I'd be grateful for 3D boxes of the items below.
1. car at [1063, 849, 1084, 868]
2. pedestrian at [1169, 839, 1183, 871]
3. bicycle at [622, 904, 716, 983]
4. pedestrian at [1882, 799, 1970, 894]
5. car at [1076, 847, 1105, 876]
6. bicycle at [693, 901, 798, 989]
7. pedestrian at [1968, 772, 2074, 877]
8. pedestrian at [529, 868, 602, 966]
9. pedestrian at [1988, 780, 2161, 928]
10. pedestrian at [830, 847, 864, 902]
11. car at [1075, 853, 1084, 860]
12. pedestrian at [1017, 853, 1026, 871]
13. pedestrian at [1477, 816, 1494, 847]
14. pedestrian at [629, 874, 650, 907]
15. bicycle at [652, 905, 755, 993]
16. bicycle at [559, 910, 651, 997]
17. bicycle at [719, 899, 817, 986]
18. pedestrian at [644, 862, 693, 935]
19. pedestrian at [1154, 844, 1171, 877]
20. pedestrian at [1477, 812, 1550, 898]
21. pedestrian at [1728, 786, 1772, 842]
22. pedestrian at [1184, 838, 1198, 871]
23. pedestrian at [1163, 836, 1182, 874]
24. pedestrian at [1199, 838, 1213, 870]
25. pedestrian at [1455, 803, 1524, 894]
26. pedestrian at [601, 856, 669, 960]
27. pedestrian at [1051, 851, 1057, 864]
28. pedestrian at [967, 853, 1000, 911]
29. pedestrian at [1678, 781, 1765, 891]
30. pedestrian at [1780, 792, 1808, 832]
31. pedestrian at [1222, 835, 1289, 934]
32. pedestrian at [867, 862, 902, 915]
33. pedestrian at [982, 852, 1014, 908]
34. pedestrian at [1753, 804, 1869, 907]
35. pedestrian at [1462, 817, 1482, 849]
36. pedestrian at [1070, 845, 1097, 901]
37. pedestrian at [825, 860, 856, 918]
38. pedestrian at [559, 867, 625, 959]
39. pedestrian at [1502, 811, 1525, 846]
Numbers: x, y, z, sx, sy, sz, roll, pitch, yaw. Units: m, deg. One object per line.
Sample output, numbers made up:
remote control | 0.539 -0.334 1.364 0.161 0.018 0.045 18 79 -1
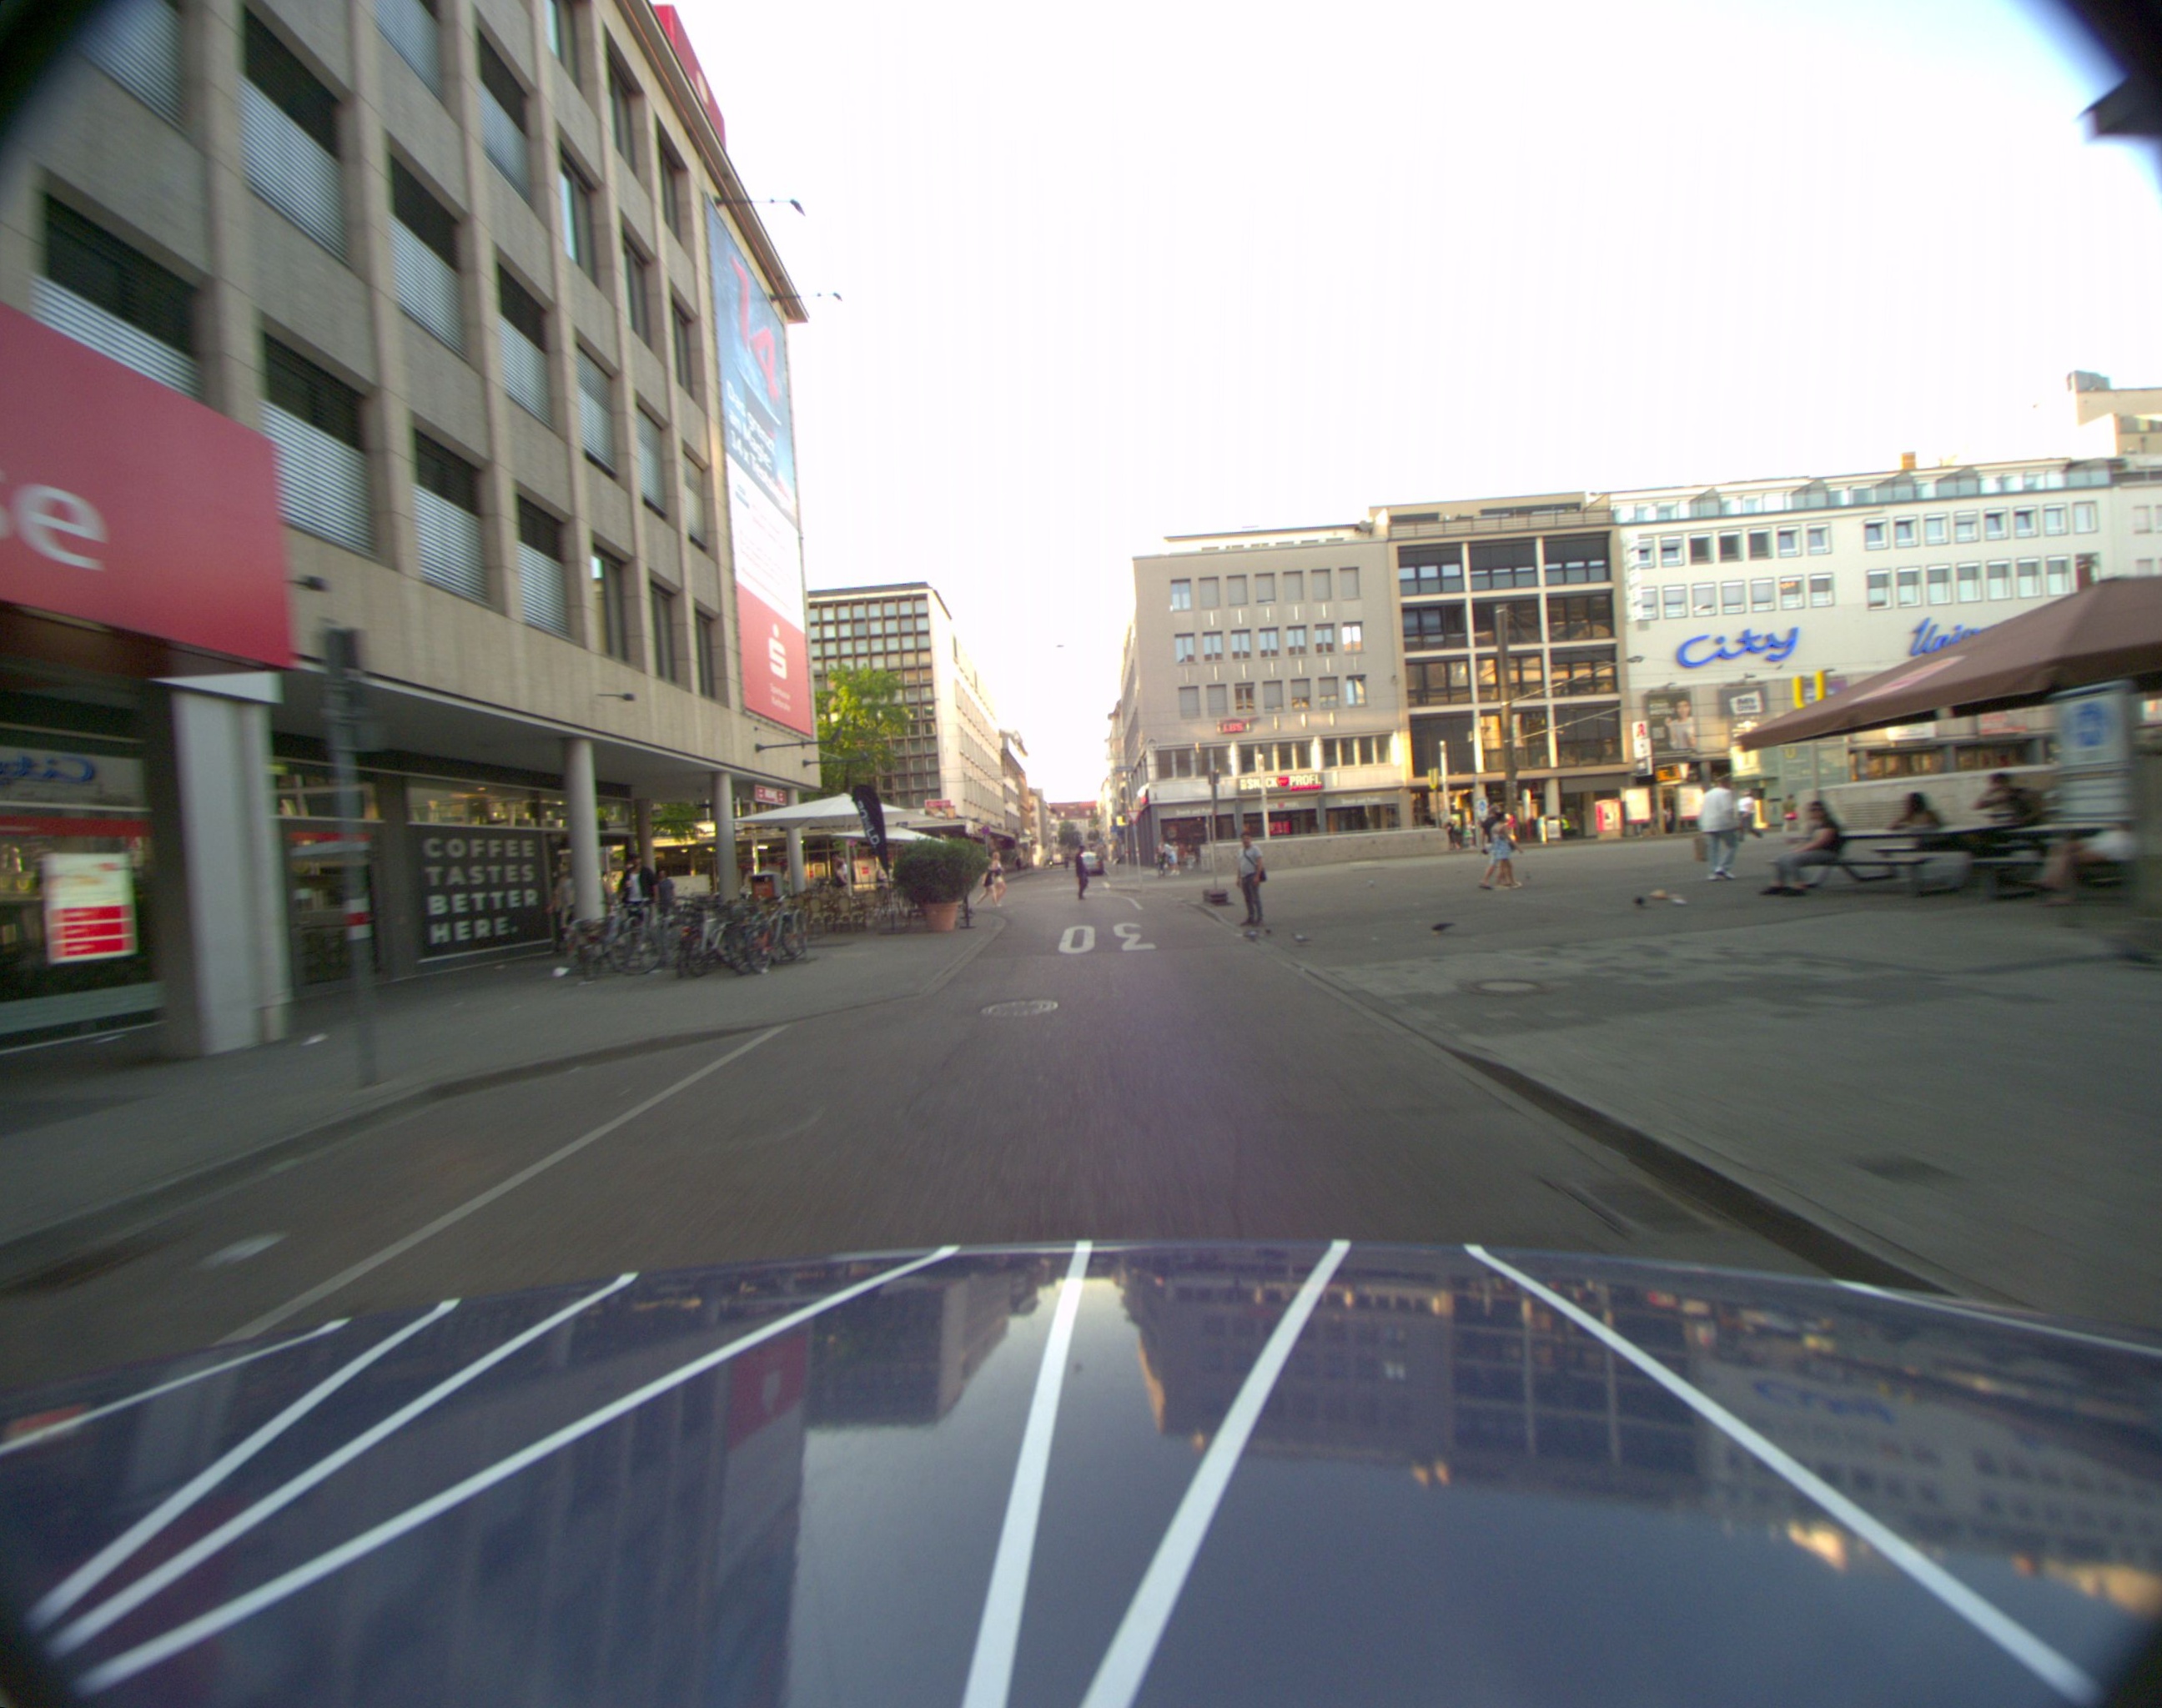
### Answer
car | -0.749 0.446 75.111 1.798 1.705 4.000 -3 0 2
pedestrian | 5.178 0.073 41.487 0.545 1.698 0.558 -5 1 1
bicycle | -6.512 1.381 12.114 0.383 1.027 1.864 -3 0 1
pedestrian | 11.296 -0.091 10.160 0.561 1.184 0.644 -7 1 -34
car | 0.625 0.488 51.445 1.824 1.729 4.000 -3 0 0
bicycle | -4.844 1.277 11.110 0.383 1.027 1.865 -3 0 9
pedestrian | 12.713 -0.381 10.293 0.562 1.328 0.612 -7 1 -5
pedestrian | -9.765 1.177 14.420 0.799 1.751 0.687 -3 1 -5
pedestrian | 9.637 -0.004 7.272 0.863 1.264 0.751 -7 0 19
pedestrian | -7.466 0.639 24.243 0.797 1.679 0.768 -4 1 -28
car | -0.305 0.591 170.663 1.799 1.501 4.000 -3 0 0
pedestrian | -5.744 0.786 72.937 0.649 1.652 0.650 -5 1 0
pedestrian | 21.717 -1.207 40.819 0.572 1.577 0.492 -5 1 -31
pedestrian | -23.160 1.901 39.832 0.649 1.652 0.651 0 1 16
bicycle | -5.459 1.335 11.117 0.383 1.027 1.864 -3 0 5
bicycle | -6.933 1.405 11.163 0.383 1.027 1.862 -3 0 -9
bicycle | -4.499 1.235 11.057 0.330 1.027 1.865 -3 0 9
pedestrian | -10.278 1.093 18.918 0.685 1.751 0.801 -3 1 43
pedestrian | 3.960 0.316 36.820 0.675 1.532 0.642 -4 1 2
pedestrian | 8.546 0.017 15.035 0.866 1.581 0.738 -6 1 -14
pedestrian | 21.683 -1.278 24.642 0.686 1.751 0.800 -3 1 11
pedestrian | 5.923 0.031 40.899 0.545 1.698 0.558 -5 1 1
pedestrian | 4.673 0.058 38.766 0.783 1.882 0.642 -4 1 0
pedestrian | 6.751 -0.017 41.108 0.545 1.698 0.558 -5 1 1
pedestrian | 8.407 -0.106 15.654 0.863 1.751 0.744 -6 1 -14
pedestrian | -8.517 1.011 14.534 0.799 1.908 0.687 -3 1 -5
pedestrian | -3.477 0.402 98.058 0.649 1.651 0.650 -3 1 2
pedestrian | -2.944 0.834 22.989 0.795 1.679 0.769 -3 1 3
pedestrian | 10.744 -0.295 12.768 0.687 1.751 0.799 -3 1 -14
pedestrian | 31.321 -1.833 33.367 0.660 1.671 0.573 -5 1 -17
pedestrian | 3.064 0.523 13.367 0.754 1.649 0.742 -4 1 -35
pedestrian | -5.998 1.047 23.231 0.796 1.556 0.769 -3 1 0
pedestrian | -2.587 0.788 23.789 0.795 1.679 0.769 -3 1 3
pedestrian | 9.858 0.012 10.300 0.778 1.267 0.787 -6 1 17
pedestrian | 21.361 -1.141 41.483 0.671 1.643 0.623 -5 1 -31
pedestrian | 0.080 0.582 23.731 0.732 1.679 0.746 -3 1 3
pedestrian | -7.373 1.052 23.239 0.797 1.679 0.768 -4 1 -19
pedestrian | -9.905 1.175 15.410 0.799 1.751 0.687 -3 1 -4
pedestrian | 21.810 -1.296 38.335 0.709 1.698 0.681 -5 1 6
